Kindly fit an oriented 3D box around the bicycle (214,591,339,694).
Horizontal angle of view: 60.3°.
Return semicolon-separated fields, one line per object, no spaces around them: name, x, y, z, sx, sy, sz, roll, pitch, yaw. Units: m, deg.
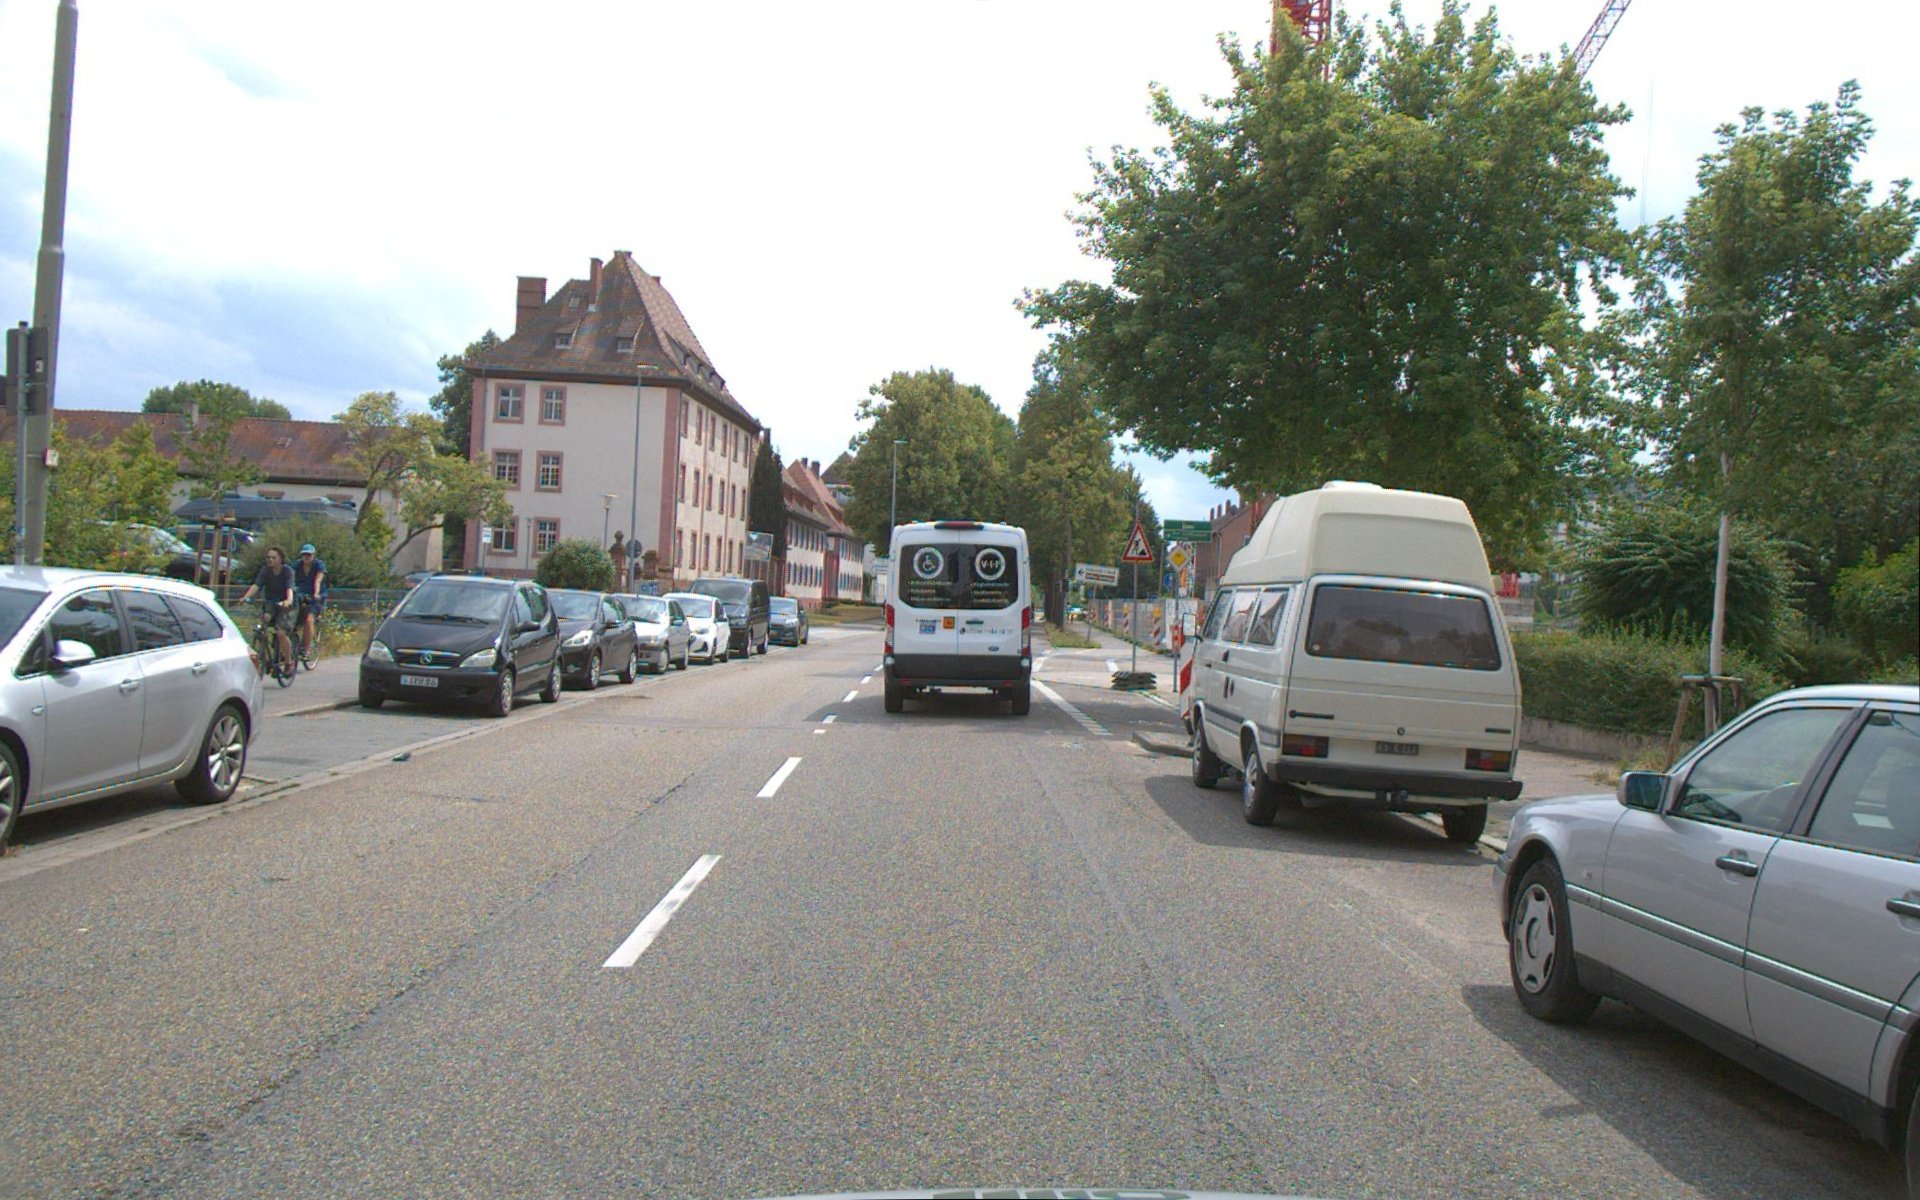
bicycle;-8.366;0.498;20.349;0.530;1.195;2.092;1;0;3

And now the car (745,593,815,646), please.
car;-5.702;0.607;52.840;1.749;1.507;3.860;3;0;0

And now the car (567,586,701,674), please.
car;-6.199;0.552;31.843;1.749;1.488;3.860;3;0;0

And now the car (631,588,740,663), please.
car;-6.163;0.550;37.565;1.749;1.507;3.860;3;0;0

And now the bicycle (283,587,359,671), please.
bicycle;-9.420;0.419;24.421;0.530;1.195;1.349;1;0;2

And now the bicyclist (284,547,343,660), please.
bicyclist;-9.421;0.052;24.099;0.525;1.613;0.692;1;0;2

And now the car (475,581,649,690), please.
car;-6.188;0.523;26.157;1.749;1.488;3.860;3;0;0

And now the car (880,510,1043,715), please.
car;-0.082;0.184;23.455;2.029;2.585;4.632;1;-1;-3

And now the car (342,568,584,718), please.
car;-6.019;0.487;20.489;1.749;1.570;3.860;3;0;0

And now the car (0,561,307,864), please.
car;-5.746;0.537;9.718;1.847;1.514;4.634;3;0;1

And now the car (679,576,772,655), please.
car;-6.030;0.389;42.955;1.749;1.859;3.974;3;0;0

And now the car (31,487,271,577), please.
car;-17.245;-1.423;35.409;4.087;1.713;2.000;2;1;0

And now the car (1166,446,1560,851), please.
car;3.069;0.342;13.759;1.859;2.632;4.828;5;0;-1

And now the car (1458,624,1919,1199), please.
car;3.202;0.924;5.145;1.647;1.494;4.553;5;0;-3

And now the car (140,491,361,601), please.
car;-16.866;-1.271;39.481;4.319;2.389;2.000;2;1;0

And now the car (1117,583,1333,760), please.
car;2.974;0.755;19.359;1.678;1.724;3.999;5;0;-1

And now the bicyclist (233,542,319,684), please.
bicyclist;-8.361;0.155;20.242;0.525;1.682;1.048;1;0;3
